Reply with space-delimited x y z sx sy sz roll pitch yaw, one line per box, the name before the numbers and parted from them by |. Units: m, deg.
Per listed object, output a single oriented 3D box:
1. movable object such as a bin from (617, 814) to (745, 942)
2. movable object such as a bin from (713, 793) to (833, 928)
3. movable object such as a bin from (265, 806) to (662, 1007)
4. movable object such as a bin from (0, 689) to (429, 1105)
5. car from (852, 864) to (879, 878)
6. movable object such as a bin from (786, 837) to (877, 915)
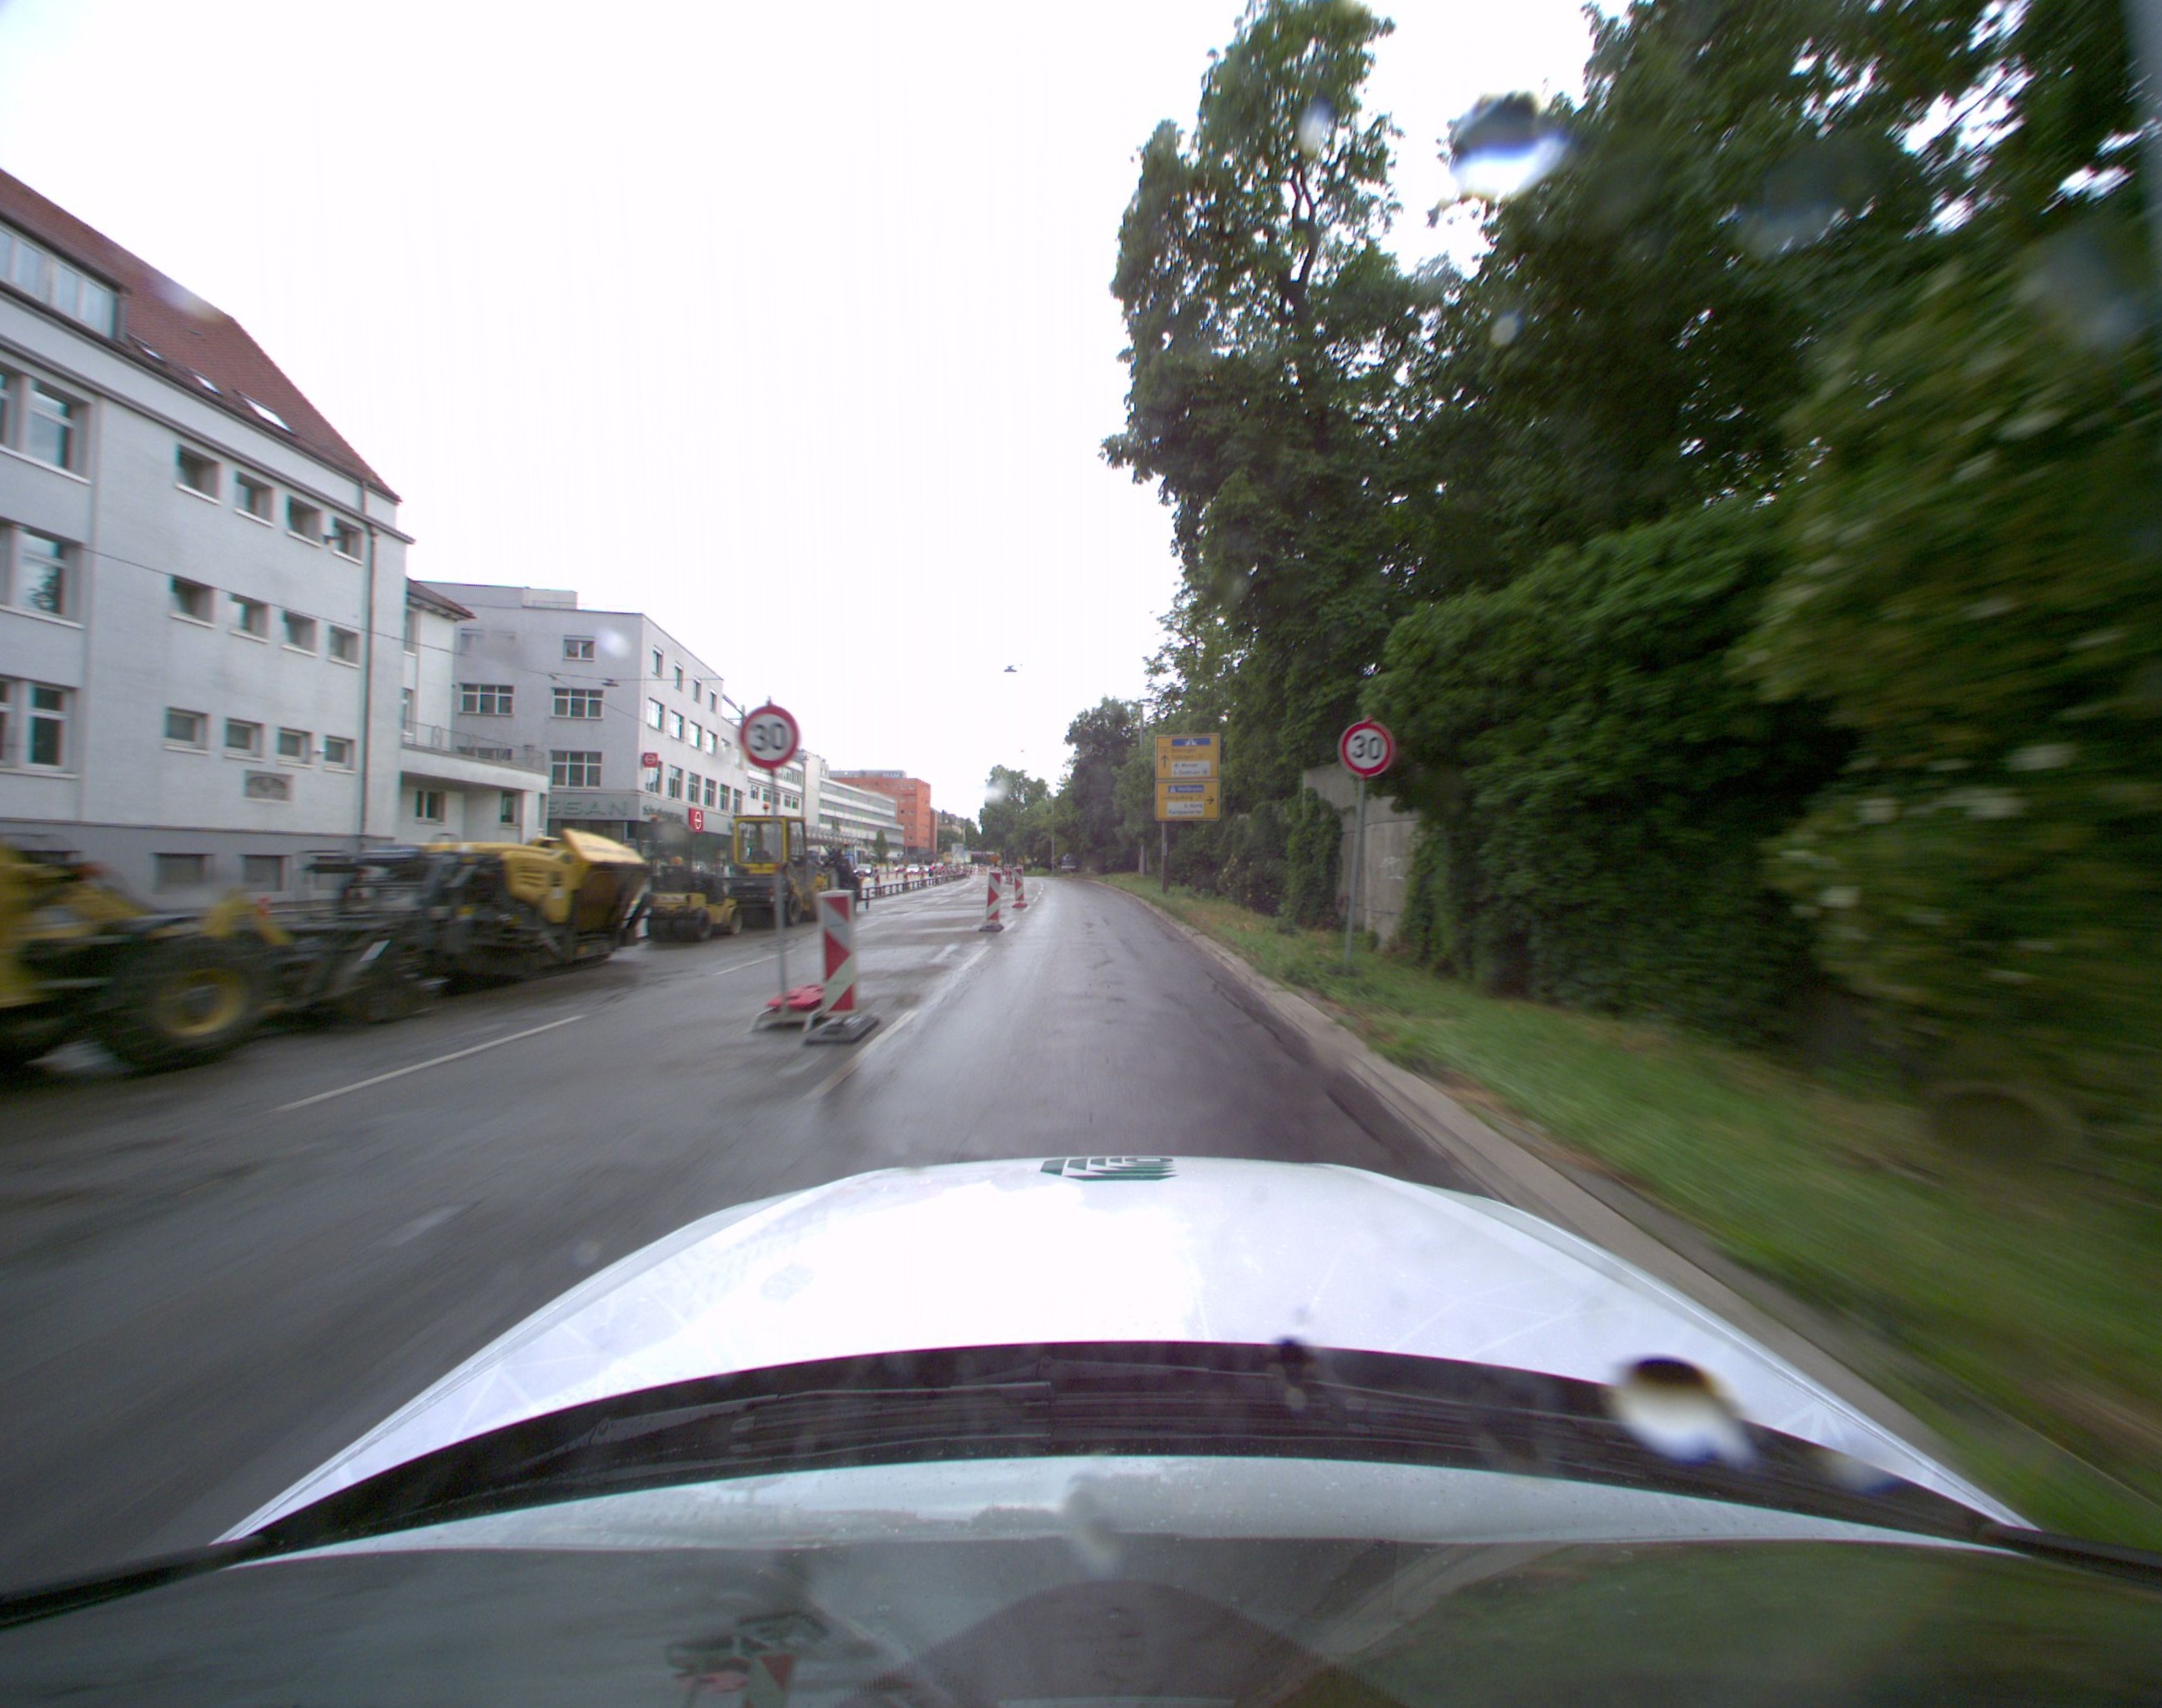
movable object such as a bin | -8.067 0.464 16.637 1.406 2.401 2.404 -1 -1 -1
movable object such as a bin | -7.511 0.158 20.226 1.461 3.008 3.724 -1 -1 1
movable object such as a bin | -7.727 0.558 10.996 1.357 2.090 5.032 0 0 2
movable object such as a bin | -7.711 0.269 5.630 1.895 2.609 5.385 0 0 2
car | -22.464 1.785 84.958 1.757 1.406 4.249 0 -1 -1
movable object such as a bin | -7.366 0.627 24.395 1.711 2.150 3.347 -1 -1 -1
